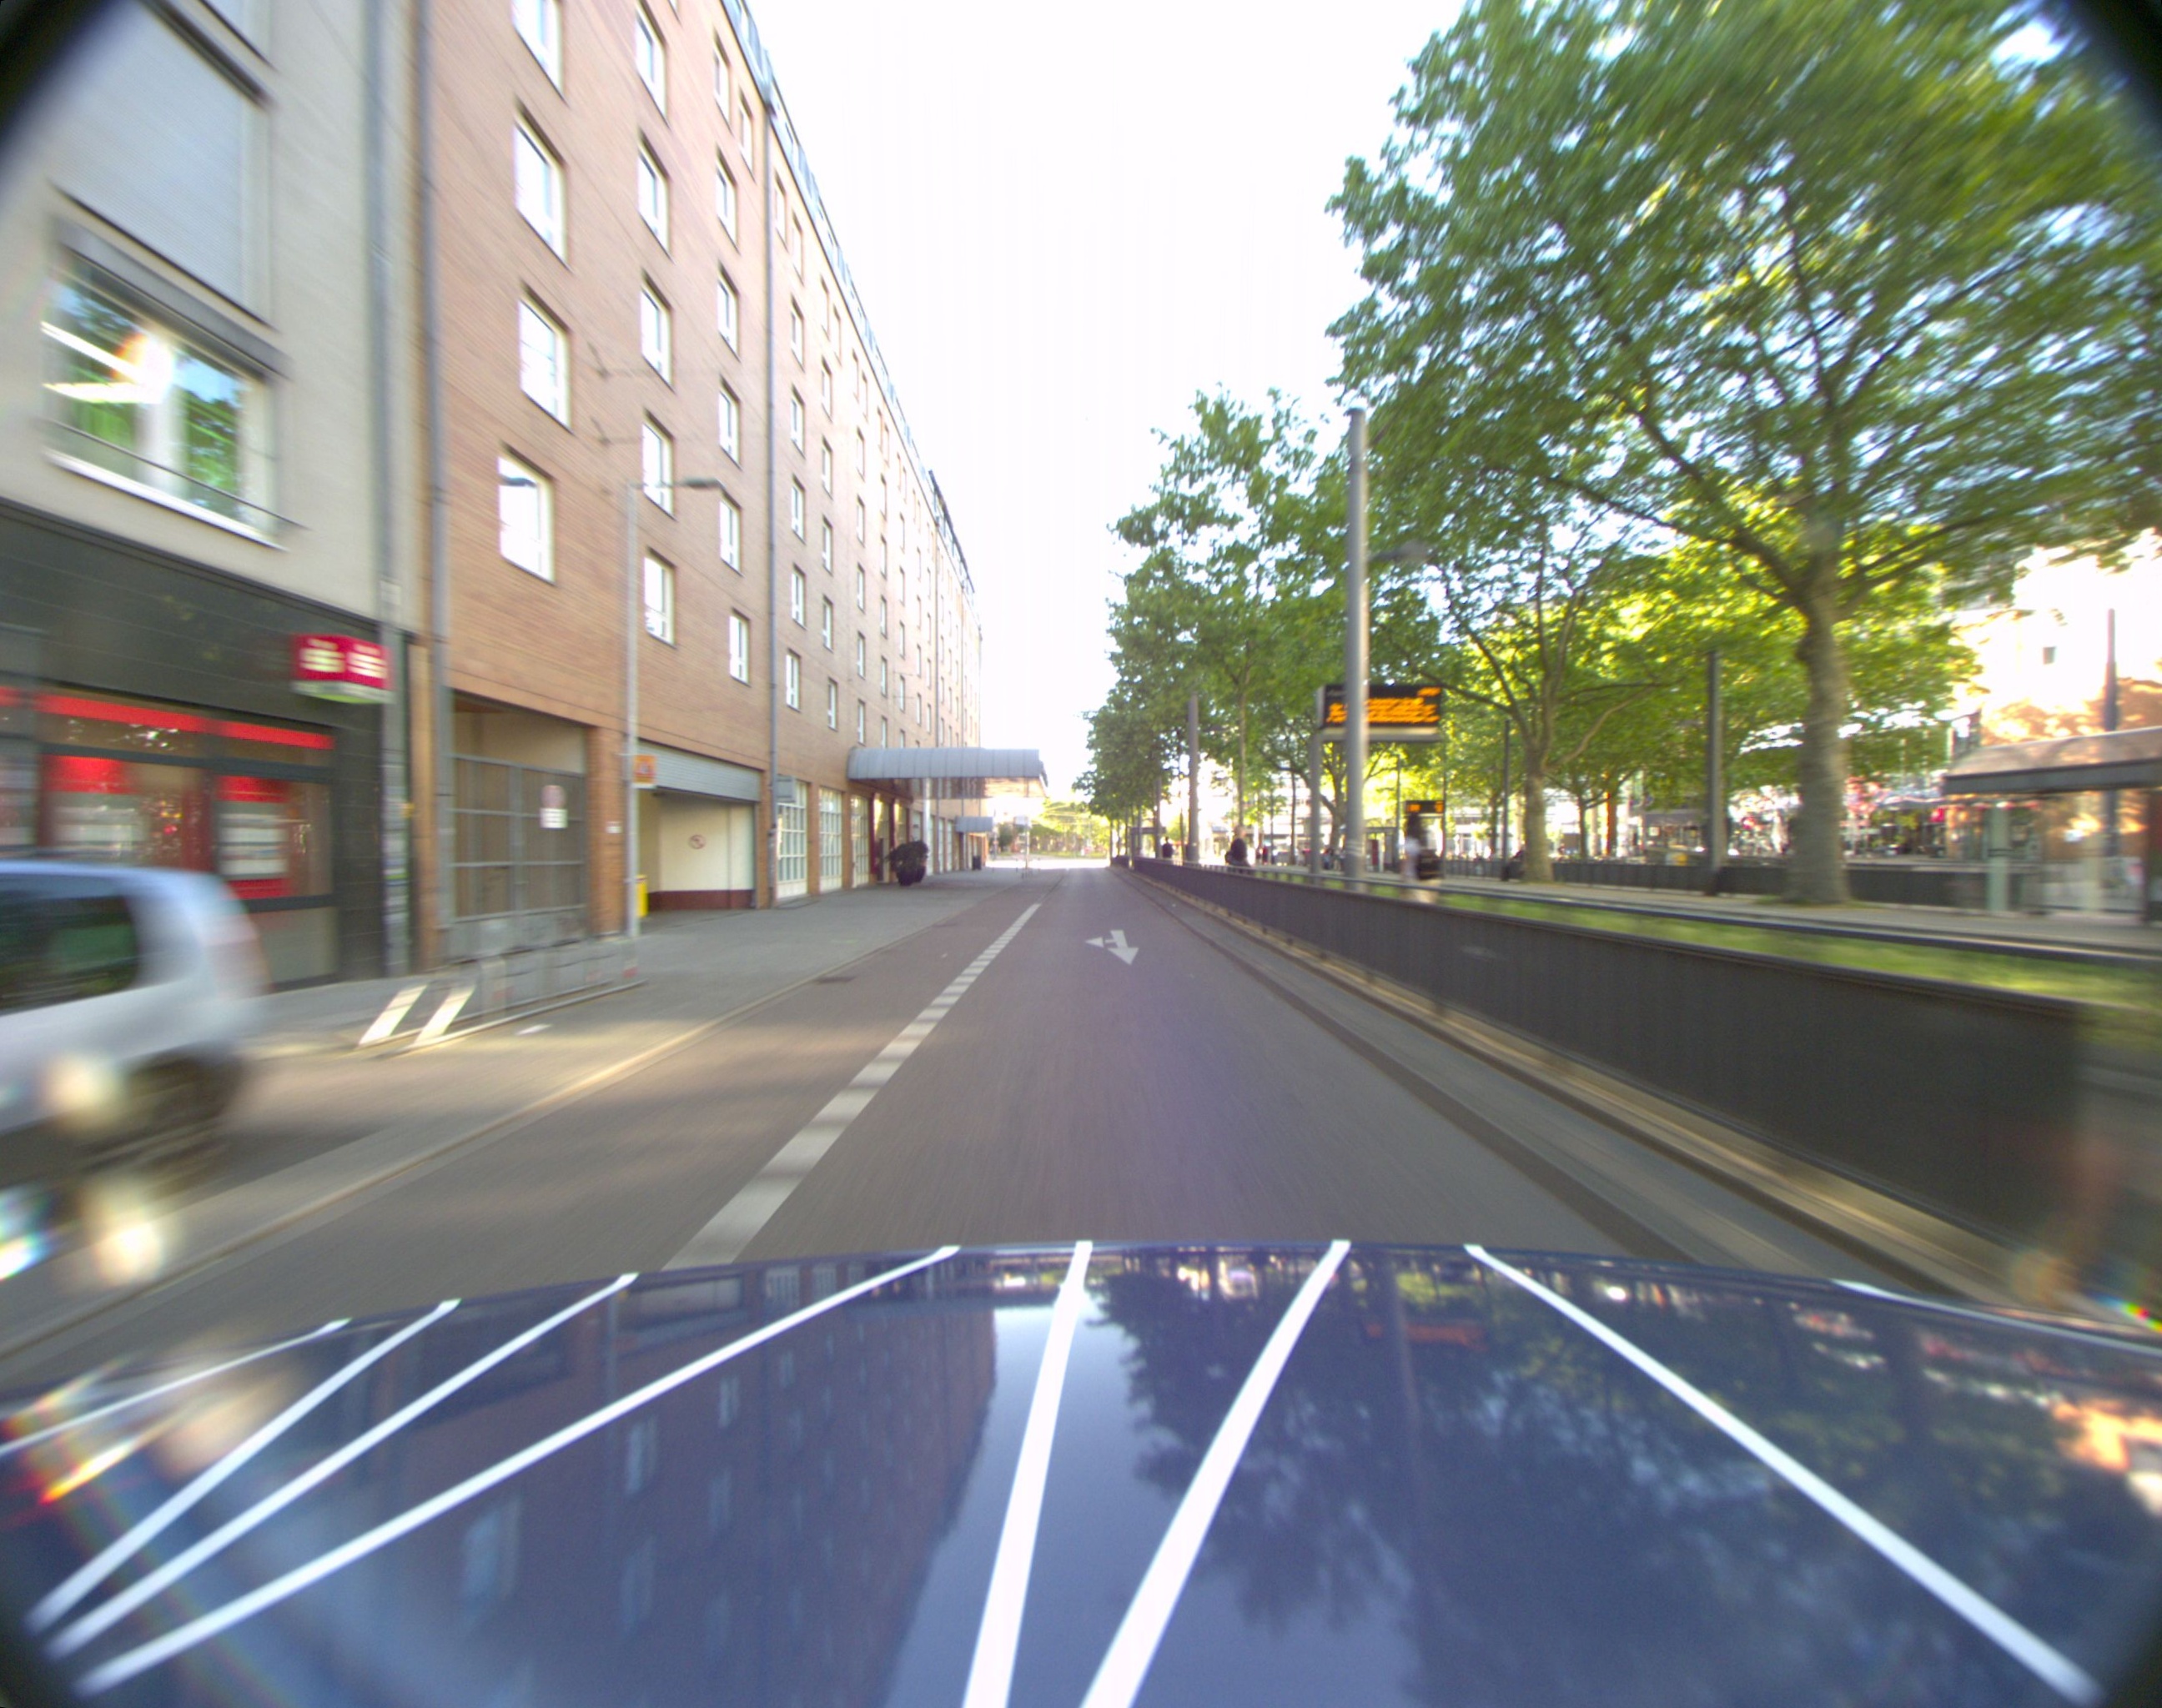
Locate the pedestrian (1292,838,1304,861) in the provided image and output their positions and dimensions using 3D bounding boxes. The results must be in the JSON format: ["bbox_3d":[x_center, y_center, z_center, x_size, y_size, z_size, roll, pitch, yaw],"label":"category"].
[{"bbox_3d":[16.392,-0.328,57.439,0.698,1.730,0.637,-1,1,-8],"label":"pedestrian"}]

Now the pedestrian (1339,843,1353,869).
[{"bbox_3d":[15.586,0.109,44.672,0.571,1.477,0.607,-1,1,-12],"label":"pedestrian"}]

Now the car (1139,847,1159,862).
[{"bbox_3d":[7.162,0.030,80.495,1.871,1.447,3.341,-1,1,0],"label":"car"}]

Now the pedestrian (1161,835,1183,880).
[{"bbox_3d":[3.712,0.147,31.075,0.708,1.792,0.826,-1,1,-7],"label":"pedestrian"}]

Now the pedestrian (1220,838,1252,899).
[{"bbox_3d":[4.391,0.398,21.570,0.731,1.692,0.863,-1,1,2],"label":"pedestrian"}]

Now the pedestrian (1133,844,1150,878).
[{"bbox_3d":[3.077,0.341,38.904,0.742,1.680,0.645,-3,1,-1],"label":"pedestrian"}]

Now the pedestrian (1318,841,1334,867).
[{"bbox_3d":[15.354,-0.025,47.606,0.669,1.632,0.668,-1,2,-12],"label":"pedestrian"}]

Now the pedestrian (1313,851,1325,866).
[{"bbox_3d":[16.880,0.304,53.967,0.723,1.034,0.698,0,1,8],"label":"pedestrian"}]

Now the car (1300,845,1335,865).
[{"bbox_3d":[21.026,0.057,67.743,1.998,1.630,4.000,1,1,1],"label":"car"}]

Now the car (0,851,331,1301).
[{"bbox_3d":[-4.972,0.856,1.939,1.837,1.613,4.284,2,1,0],"label":"car"}]

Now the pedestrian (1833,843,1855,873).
[{"bbox_3d":[40.963,0.198,40.785,0.579,1.595,0.598,-1,1,5],"label":"pedestrian"}]

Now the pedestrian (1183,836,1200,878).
[{"bbox_3d":[4.906,0.126,33.831,0.648,1.829,0.638,-1,1,0],"label":"pedestrian"}]

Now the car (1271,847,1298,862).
[{"bbox_3d":[20.175,0.031,75.490,1.871,1.447,3.341,-1,1,0],"label":"car"}]

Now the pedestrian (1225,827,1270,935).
[{"bbox_3d":[2.964,0.469,13.584,0.647,1.876,0.661,0,1,0],"label":"pedestrian"}]

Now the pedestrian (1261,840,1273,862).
[{"bbox_3d":[14.697,-0.234,60.155,0.686,1.686,0.698,-1,1,-8],"label":"pedestrian"}]

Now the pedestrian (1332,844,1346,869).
[{"bbox_3d":[15.380,0.123,45.259,0.554,1.489,0.550,-1,1,-12],"label":"pedestrian"}]

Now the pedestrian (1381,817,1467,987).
[{"bbox_3d":[3.934,0.527,8.752,0.647,1.861,0.753,-1,1,1],"label":"pedestrian"}]

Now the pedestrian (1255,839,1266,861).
[{"bbox_3d":[14.350,-0.335,60.815,0.656,1.744,0.676,-1,1,-8],"label":"pedestrian"}]
